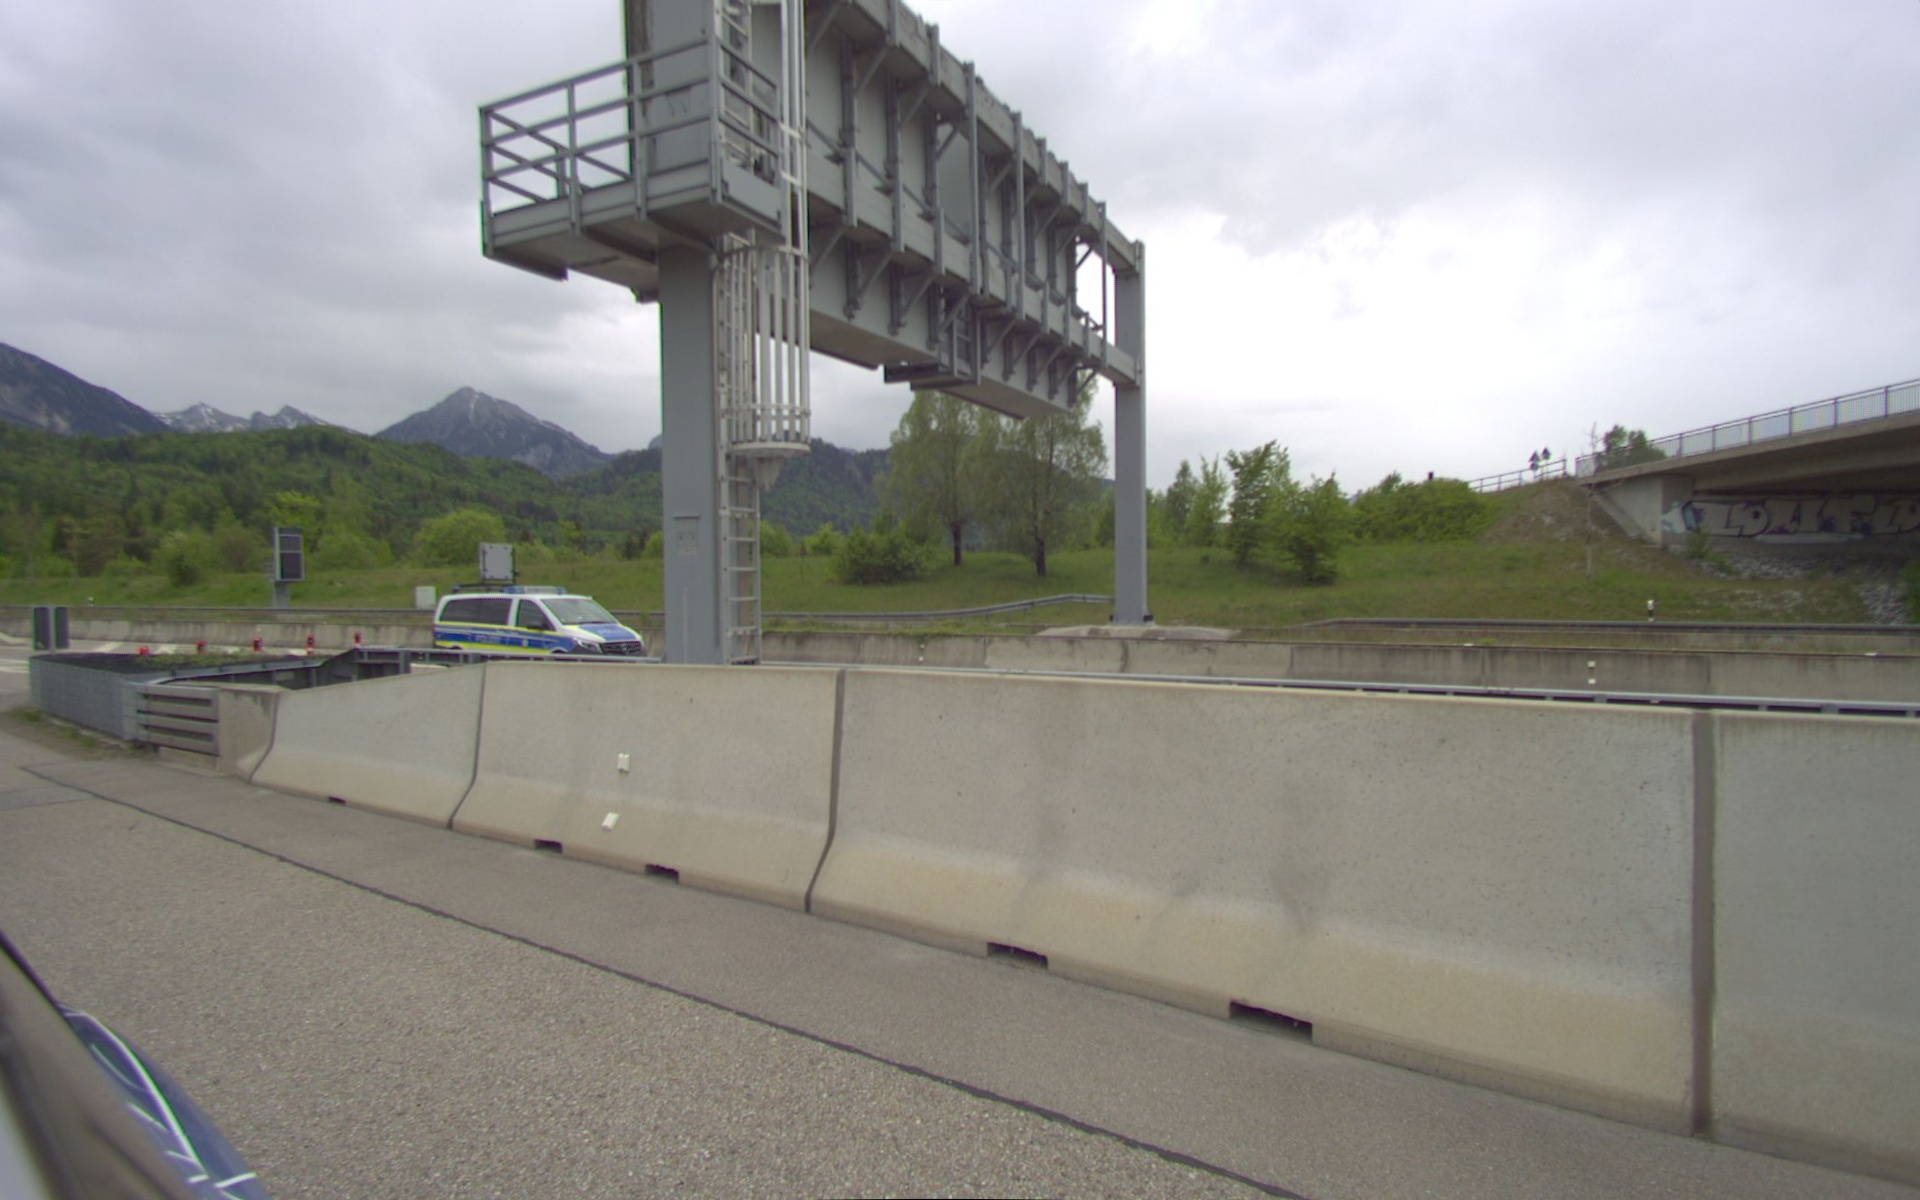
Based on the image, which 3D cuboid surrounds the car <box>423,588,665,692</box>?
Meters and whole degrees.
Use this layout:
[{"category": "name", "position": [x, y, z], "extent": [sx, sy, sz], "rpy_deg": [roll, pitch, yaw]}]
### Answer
[{"category": "car", "position": [-8.948, 0.794, 21.689], "extent": [5.028, 2.029, 2.085], "rpy_deg": [0, -1, 28]}]
